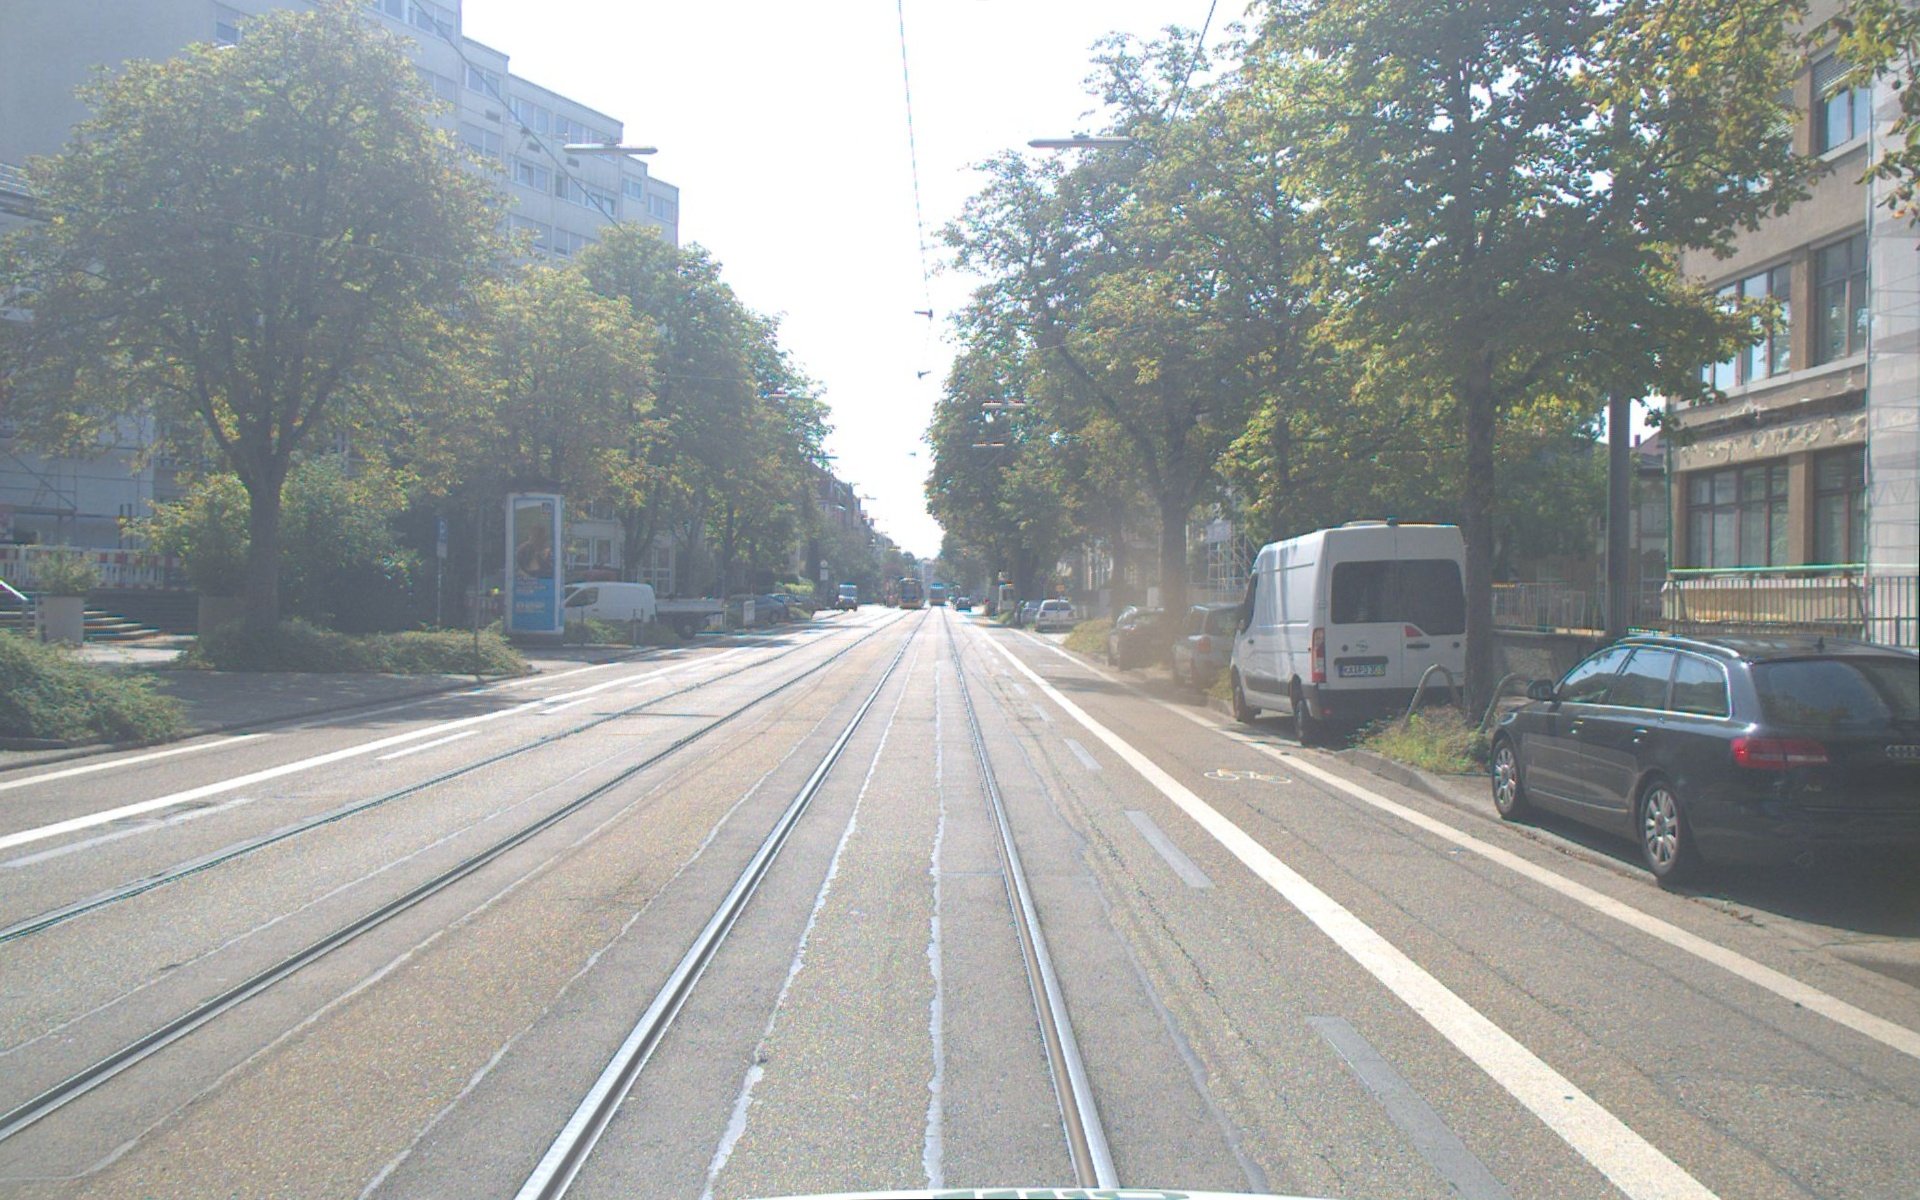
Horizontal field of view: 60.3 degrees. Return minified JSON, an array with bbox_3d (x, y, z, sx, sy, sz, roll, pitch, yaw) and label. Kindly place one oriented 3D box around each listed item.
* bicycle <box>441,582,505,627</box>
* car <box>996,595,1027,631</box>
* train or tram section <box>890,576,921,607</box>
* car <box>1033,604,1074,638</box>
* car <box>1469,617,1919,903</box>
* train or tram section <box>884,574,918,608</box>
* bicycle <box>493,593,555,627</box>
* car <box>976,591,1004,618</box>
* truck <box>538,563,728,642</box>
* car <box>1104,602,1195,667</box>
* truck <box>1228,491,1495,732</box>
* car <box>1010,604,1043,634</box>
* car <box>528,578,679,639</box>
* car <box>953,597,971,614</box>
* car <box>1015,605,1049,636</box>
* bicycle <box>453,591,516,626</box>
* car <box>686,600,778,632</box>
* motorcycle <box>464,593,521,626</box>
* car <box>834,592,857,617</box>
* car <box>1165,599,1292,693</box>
[{"bbox_3d":[-17.952,0.169,60.917,2.290,1.552,0.602,2,-1,19],"label":"bicycle"},{"bbox_3d":[3.566,0.896,115.308,1.953,2.407,3.999,1,0,0],"label":"car"},{"bbox_3d":[-6.748,-1.068,206.097,3.425,3.769,12.412,1,0,0],"label":"train or tram section"},{"bbox_3d":[4.148,0.935,73.894,1.754,1.471,3.733,-1,0,2],"label":"car"},{"bbox_3d":[4.982,0.868,11.074,1.651,1.466,4.803,1,0,0],"label":"car"},{"bbox_3d":[-6.791,-1.007,193.666,3.425,3.769,12.412,1,0,0],"label":"train or tram section"},{"bbox_3d":[-16.915,0.385,64.141,2.289,1.189,0.622,2,-1,17],"label":"bicycle"},{"bbox_3d":[2.565,0.350,142.279,1.955,2.272,3.995,0,0,-5],"label":"car"},{"bbox_3d":[-10.732,0.089,54.564,5.913,2.477,2.120,0,0,-40],"label":"truck"},{"bbox_3d":[4.581,0.804,40.475,1.640,1.483,4.663,0,0,-1],"label":"car"},{"bbox_3d":[4.909,0.145,21.145,1.878,2.644,5.590,1,0,-2],"label":"truck"},{"bbox_3d":[3.749,1.046,93.576,1.757,1.604,4.000,1,0,1],"label":"car"},{"bbox_3d":[-10.890,0.258,50.691,4.253,1.803,1.796,0,0,-44],"label":"car"},{"bbox_3d":[0.197,0.641,182.003,1.953,1.832,3.999,1,0,0],"label":"car"},{"bbox_3d":[3.783,1.077,87.373,1.607,1.538,3.640,1,-1,0],"label":"car"},{"bbox_3d":[-17.726,0.308,61.594,2.290,1.189,0.602,2,-1,19],"label":"bicycle"},{"bbox_3d":[-11.472,0.785,83.477,1.647,1.477,4.660,0,1,42],"label":"car"},{"bbox_3d":[-17.624,0.350,62.389,1.959,1.175,0.744,2,-1,19],"label":"motorcycle"},{"bbox_3d":[-11.424,0.458,164.770,2.198,2.484,3.996,1,0,-4],"label":"car"},{"bbox_3d":[4.939,0.815,30.932,1.640,1.607,4.171,-1,-1,-1],"label":"car"}]
